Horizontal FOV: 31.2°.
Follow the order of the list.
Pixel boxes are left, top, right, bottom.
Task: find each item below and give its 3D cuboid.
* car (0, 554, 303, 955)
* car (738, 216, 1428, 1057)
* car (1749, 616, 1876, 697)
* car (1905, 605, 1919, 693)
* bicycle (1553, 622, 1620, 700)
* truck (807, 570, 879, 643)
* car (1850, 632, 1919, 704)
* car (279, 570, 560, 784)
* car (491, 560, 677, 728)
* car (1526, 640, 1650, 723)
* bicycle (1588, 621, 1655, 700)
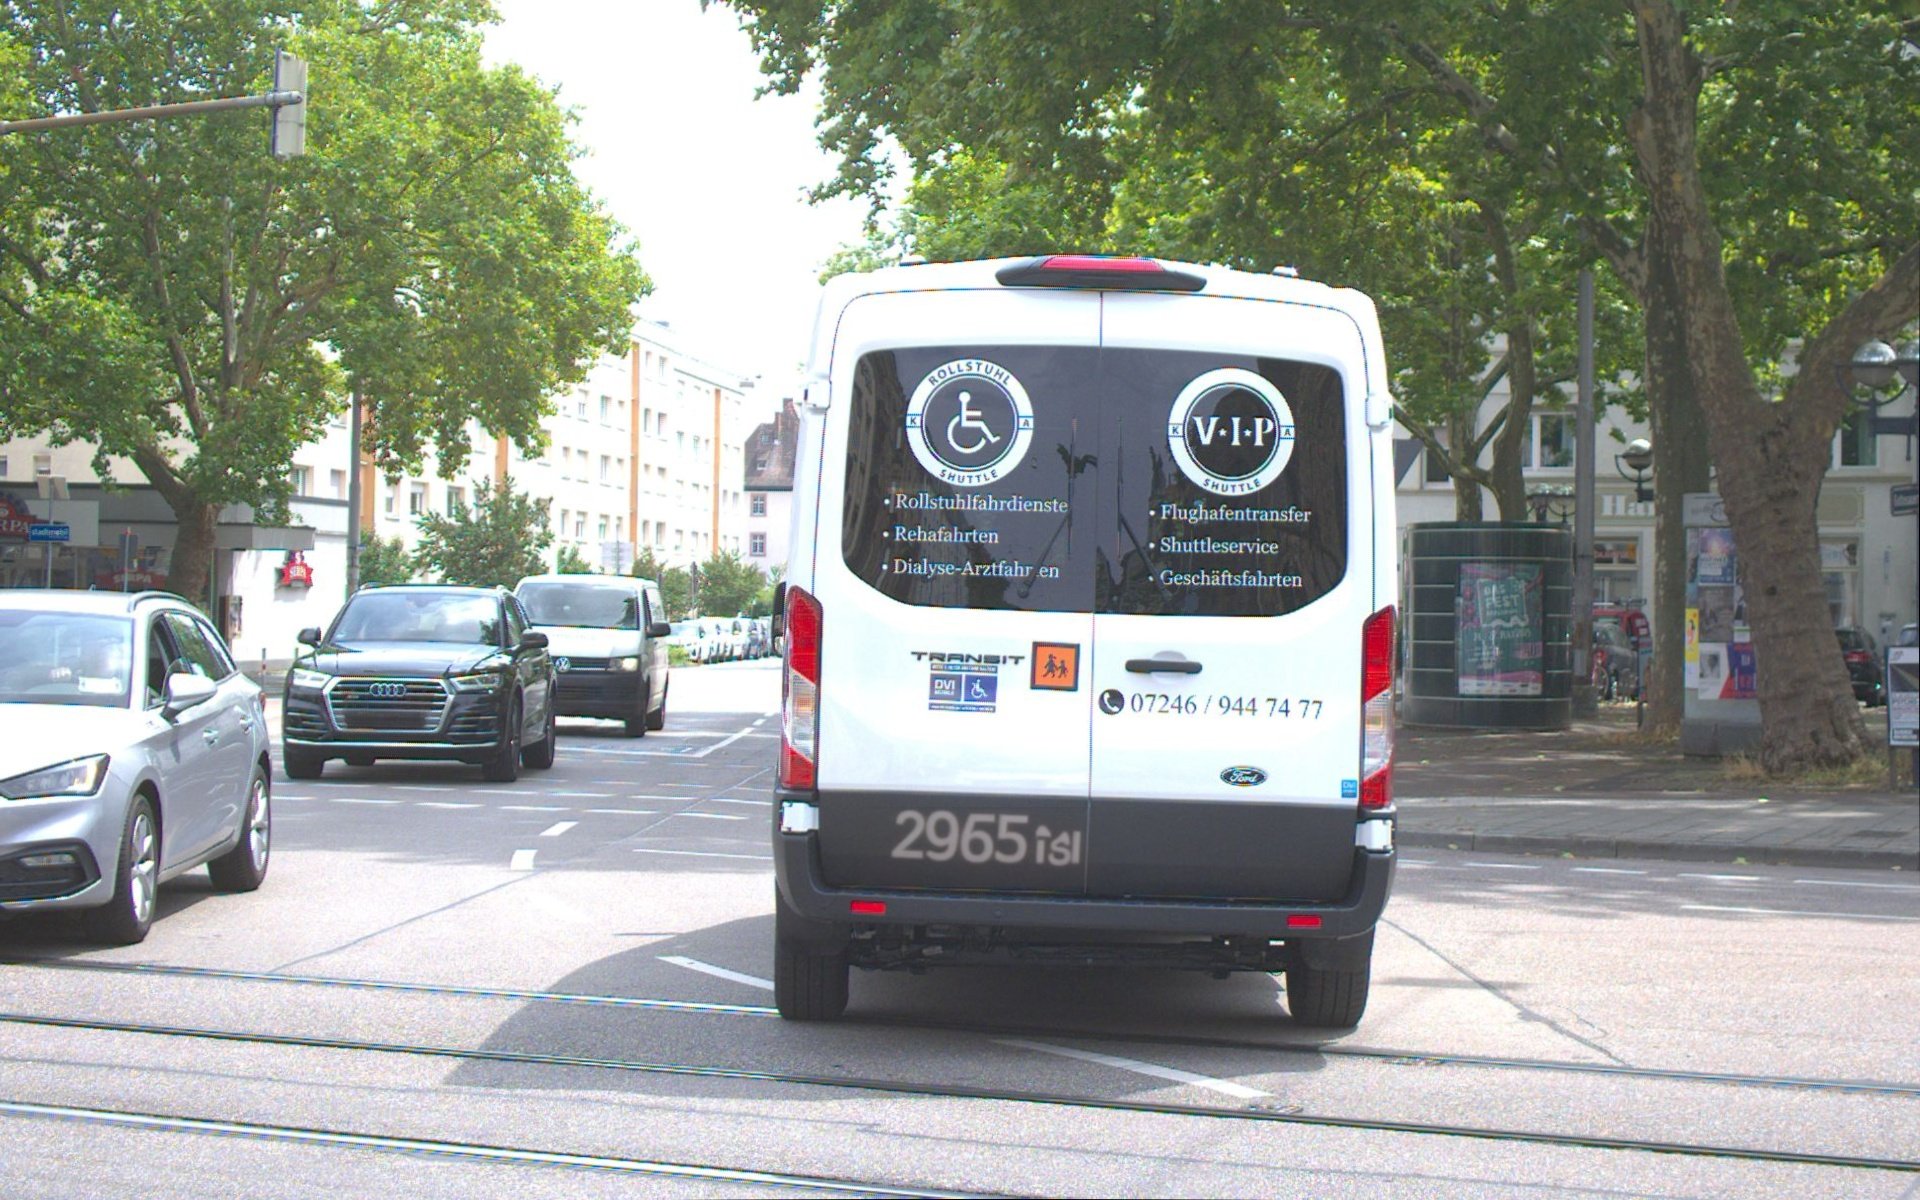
[{"bbox_3d":[-4.200,0.572,15.419,1.763,1.519,4.848,0,0,-2],"label":"car"},{"bbox_3d":[0.402,0.155,12.795,2.070,2.532,4.634,1,-1,1],"label":"car"},{"bbox_3d":[15.985,1.042,64.346,1.995,1.459,3.996,0,0,19],"label":"car"},{"bbox_3d":[18.678,0.914,63.739,1.995,1.593,3.996,0,0,19],"label":"car"},{"bbox_3d":[11.299,1.089,61.933,0.419,1.373,2.307,0,0,30],"label":"bicycle"},{"bbox_3d":[-5.139,0.295,151.984,2.541,3.097,7.019,-1,0,3],"label":"truck"},{"bbox_3d":[20.506,1.452,74.328,1.996,1.482,4.190,1,0,21],"label":"car"},{"bbox_3d":[-4.529,0.601,29.415,1.822,1.642,4.428,2,0,-2],"label":"car"},{"bbox_3d":[-4.650,0.514,43.169,1.923,1.930,4.948,2,0,-2],"label":"car"},{"bbox_3d":[12.338,1.570,67.350,1.829,1.547,3.996,0,0,19],"label":"car"},{"bbox_3d":[11.851,1.078,61.552,0.419,1.373,2.307,0,-1,30],"label":"bicycle"}]
